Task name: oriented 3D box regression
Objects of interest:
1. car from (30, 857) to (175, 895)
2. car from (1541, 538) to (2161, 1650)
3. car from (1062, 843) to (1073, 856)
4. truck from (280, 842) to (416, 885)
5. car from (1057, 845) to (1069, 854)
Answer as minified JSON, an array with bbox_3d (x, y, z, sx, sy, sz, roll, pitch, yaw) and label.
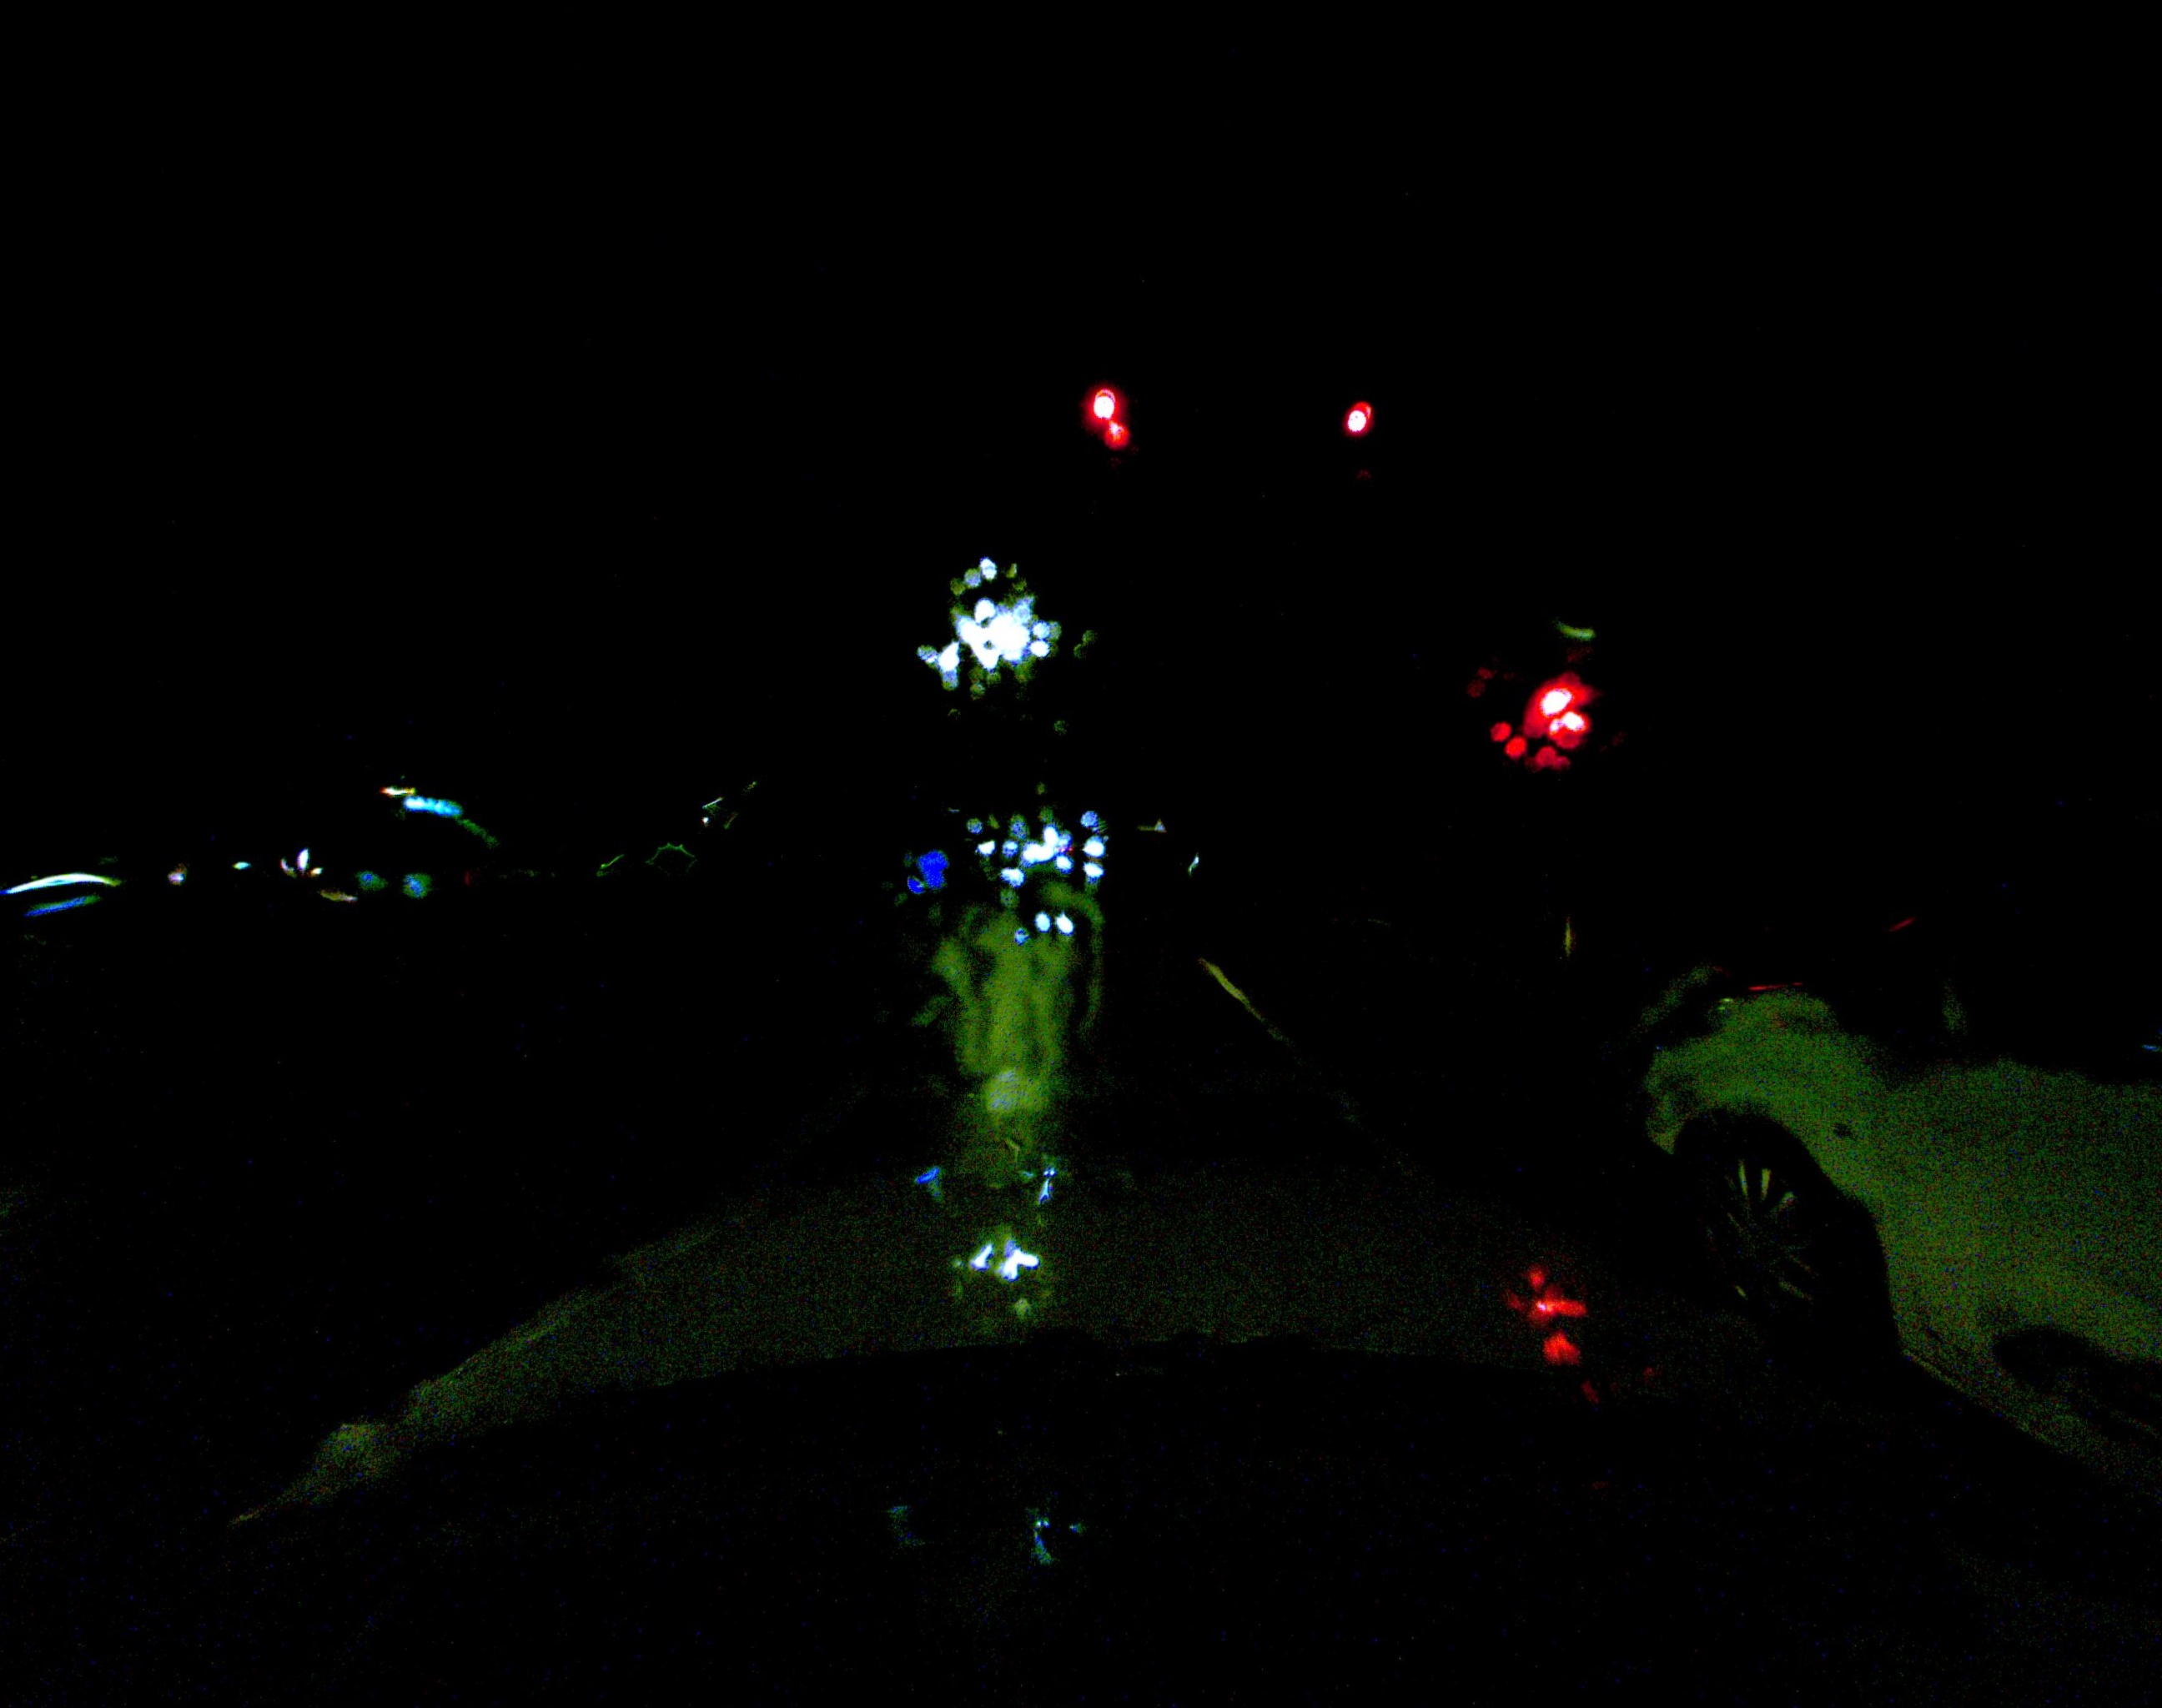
[{"bbox_3d":[-41.570,0.905,34.755,1.721,1.519,3.988,0,0,-9],"label":"car"},{"bbox_3d":[2.855,0.429,1.149,1.786,2.022,4.578,-1,0,-1],"label":"car"},{"bbox_3d":[-2.230,-0.740,137.098,1.786,2.022,4.578,-1,0,0],"label":"car"},{"bbox_3d":[-41.330,0.532,46.185,1.985,2.271,6.027,0,0,4],"label":"truck"},{"bbox_3d":[-3.856,-0.894,178.078,1.983,1.717,4.007,3,-1,7],"label":"car"}]
